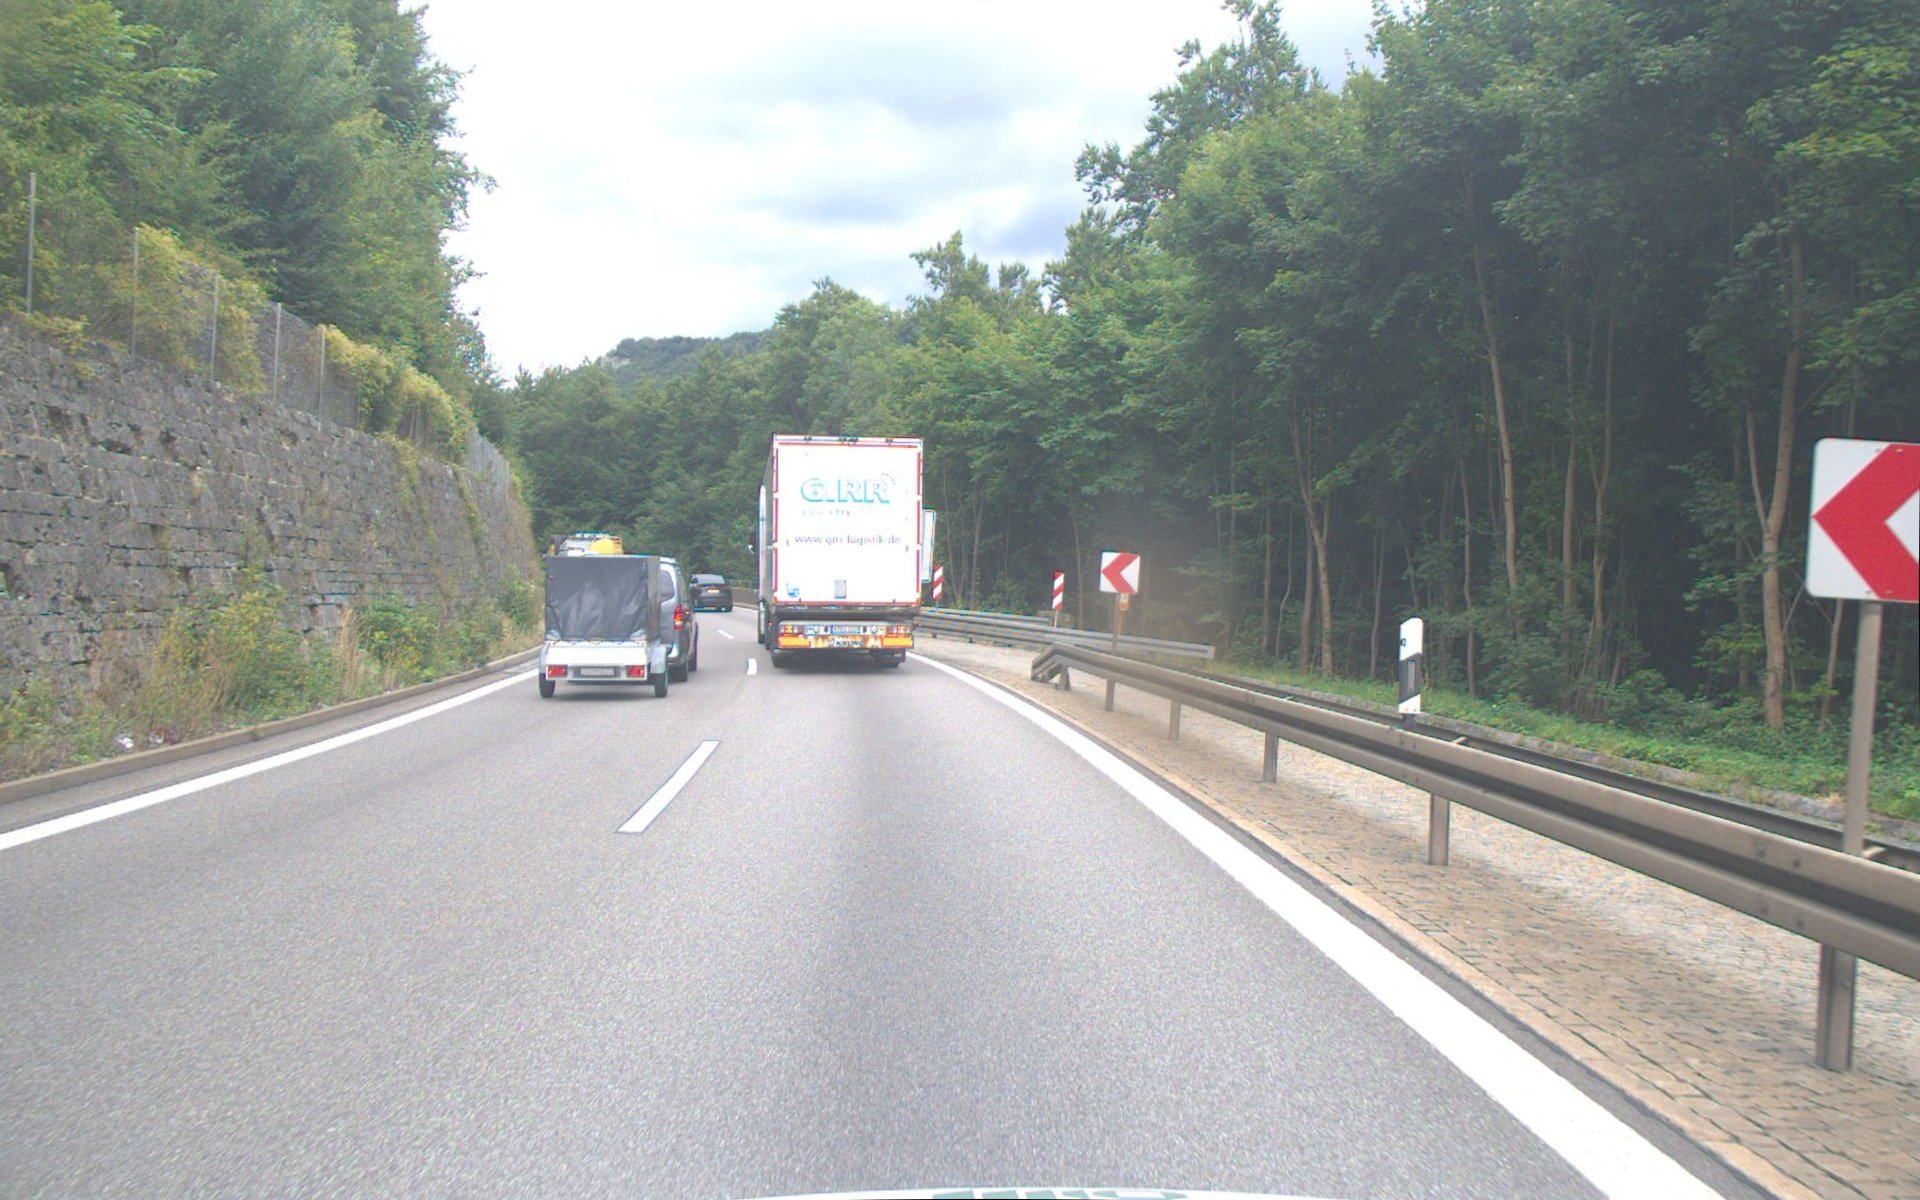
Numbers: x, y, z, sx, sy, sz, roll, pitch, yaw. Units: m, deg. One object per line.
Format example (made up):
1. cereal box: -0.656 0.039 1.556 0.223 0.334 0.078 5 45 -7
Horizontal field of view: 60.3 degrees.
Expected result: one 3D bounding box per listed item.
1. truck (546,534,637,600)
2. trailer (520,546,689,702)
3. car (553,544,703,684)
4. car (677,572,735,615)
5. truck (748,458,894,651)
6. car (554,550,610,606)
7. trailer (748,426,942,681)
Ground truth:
1. truck: -24.450 -2.192 109.134 3.019 4.055 13.588 0 1 -25
2. trailer: -4.807 0.296 22.799 1.933 1.973 3.425 0 0 -7
3. car: -5.325 0.191 27.203 1.955 2.049 5.532 0 0 -7
4. car: -11.142 -0.306 72.322 1.961 1.691 3.982 3 0 -16
5. truck: -3.482 -1.126 39.750 3.000 4.055 7.177 3 2 -7
6. car: -19.683 -1.173 85.897 1.959 2.718 6.897 3 1 -20
7. trailer: -2.653 -0.993 33.393 3.000 4.054 12.119 3 2 -7
